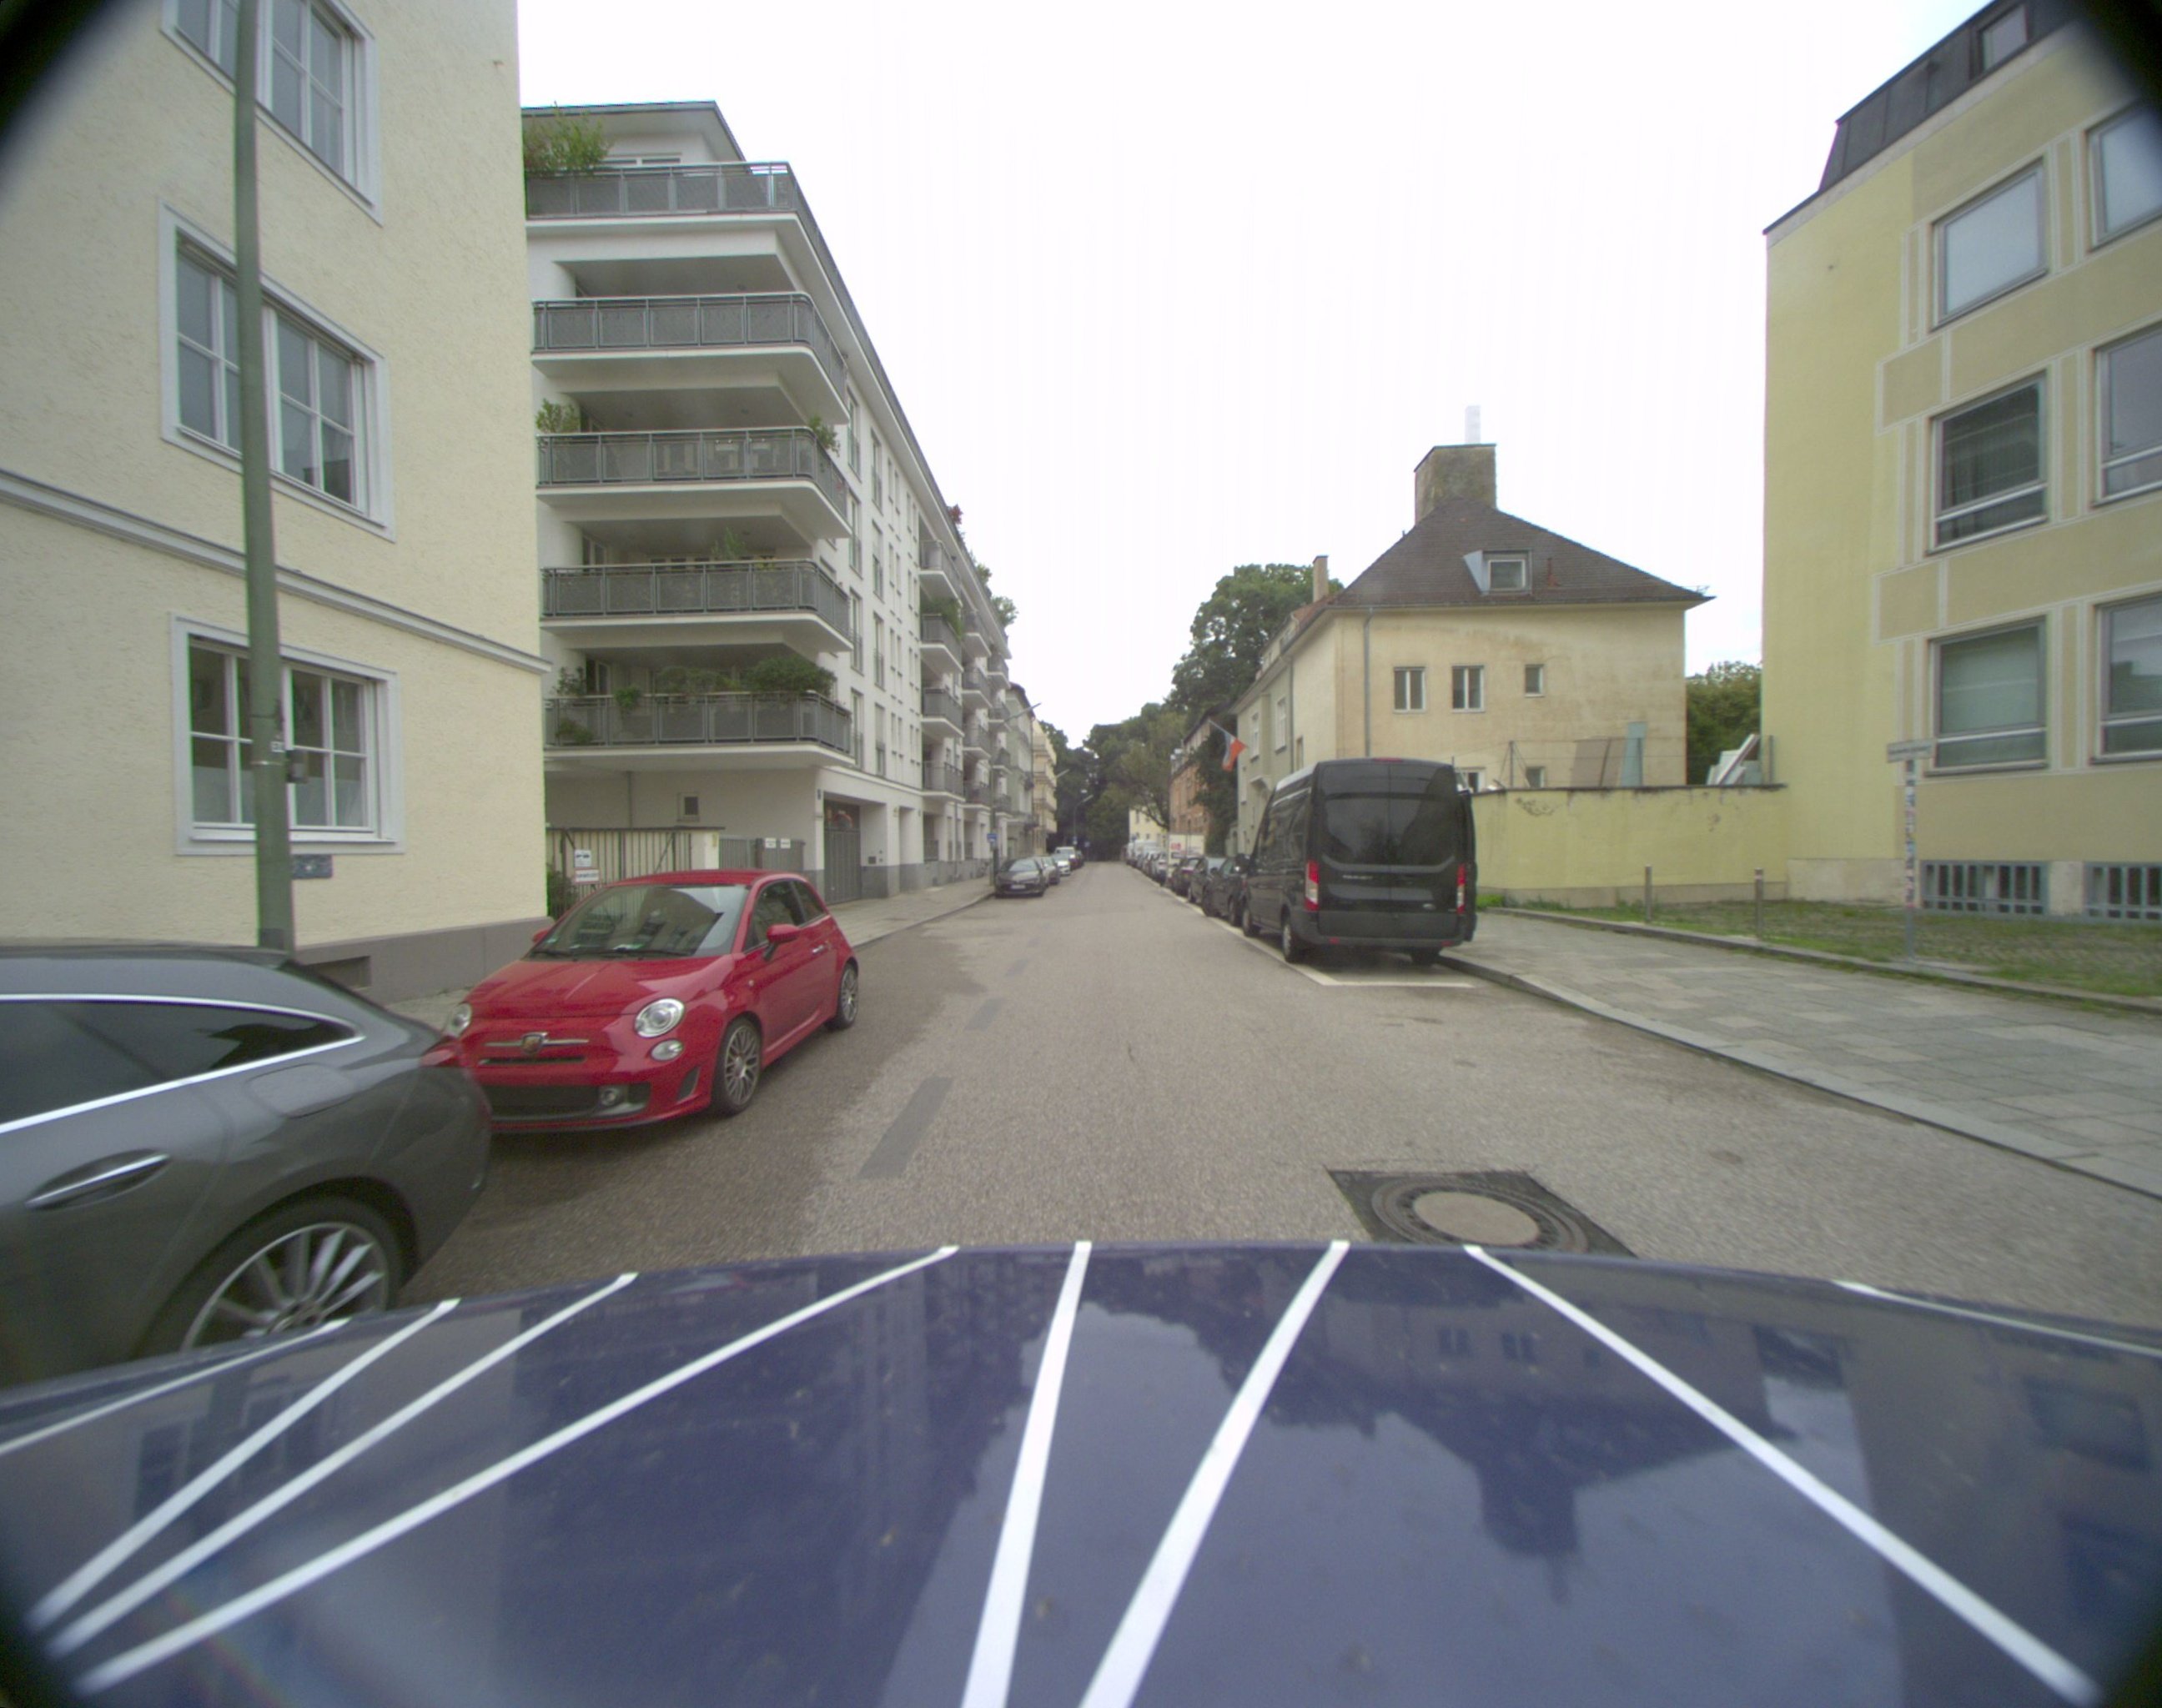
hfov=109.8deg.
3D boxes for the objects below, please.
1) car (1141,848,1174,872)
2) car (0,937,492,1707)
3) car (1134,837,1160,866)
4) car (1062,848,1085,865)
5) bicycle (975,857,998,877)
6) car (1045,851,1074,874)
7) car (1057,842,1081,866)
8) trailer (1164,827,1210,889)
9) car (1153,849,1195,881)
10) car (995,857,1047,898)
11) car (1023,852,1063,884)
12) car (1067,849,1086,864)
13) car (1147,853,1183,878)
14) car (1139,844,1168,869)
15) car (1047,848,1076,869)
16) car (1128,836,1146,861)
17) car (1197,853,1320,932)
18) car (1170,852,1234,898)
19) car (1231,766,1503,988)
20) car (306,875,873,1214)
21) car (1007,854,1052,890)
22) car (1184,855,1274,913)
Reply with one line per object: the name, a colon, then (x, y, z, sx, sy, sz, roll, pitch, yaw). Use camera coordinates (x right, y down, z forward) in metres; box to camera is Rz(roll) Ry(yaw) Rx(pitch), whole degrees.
car: (5.076, 0.383, 50.592, 1.818, 1.444, 3.927, -1, 1, 0)
car: (-2.907, 1.031, 0.413, 1.683, 1.402, 4.421, -1, 1, 0)
car: (5.714, -0.255, 66.330, 2.104, 2.418, 4.549, -1, 1, 3)
car: (-0.656, 0.212, 71.355, 1.871, 1.455, 4.268, -1, 1, 2)
bicycle: (-5.363, 0.735, 43.138, 0.580, 1.008, 1.955, -2, 1, 14)
car: (-1.394, 0.543, 50.509, 1.766, 1.449, 3.747, -1, 1, 1)
car: (-1.001, -0.034, 65.722, 1.871, 2.002, 4.268, -1, 1, 2)
trailer: (4.617, 0.143, 33.520, 1.817, 2.521, 3.390, 2, 1, 6)
car: (4.692, 0.519, 38.860, 1.767, 1.505, 3.842, 0, 1, 2)
car: (-2.245, 0.852, 29.371, 1.784, 1.386, 4.245, -1, 1, -2)
car: (-1.894, 0.680, 38.845, 1.766, 1.449, 3.747, -1, 1, 1)
car: (-0.436, 0.263, 81.503, 1.871, 1.455, 4.268, -1, 1, 2)
car: (4.814, 0.641, 44.142, 1.817, 1.339, 3.746, -1, 1, 3)
car: (5.301, 0.174, 55.908, 1.817, 1.724, 3.649, -1, 1, 2)
car: (-1.416, 0.330, 57.061, 1.765, 1.449, 3.748, -1, 1, 4)
car: (6.071, -0.621, 82.732, 1.880, 2.539, 4.370, -1, 1, 3)
car: (3.815, 0.766, 16.887, 1.706, 1.485, 3.488, -1, 1, -4)
car: (4.335, 0.689, 27.907, 1.817, 1.491, 4.643, 0, 1, 3)
car: (3.944, 0.245, 11.861, 2.302, 2.630, 5.653, 0, 1, 2)
car: (-2.936, 0.991, 5.653, 1.683, 1.489, 3.823, -1, 1, 0)
car: (-2.276, 0.789, 34.348, 1.766, 1.449, 3.417, -1, 1, 1)
car: (4.084, 0.786, 21.616, 1.697, 1.417, 4.069, 0, 1, -1)
